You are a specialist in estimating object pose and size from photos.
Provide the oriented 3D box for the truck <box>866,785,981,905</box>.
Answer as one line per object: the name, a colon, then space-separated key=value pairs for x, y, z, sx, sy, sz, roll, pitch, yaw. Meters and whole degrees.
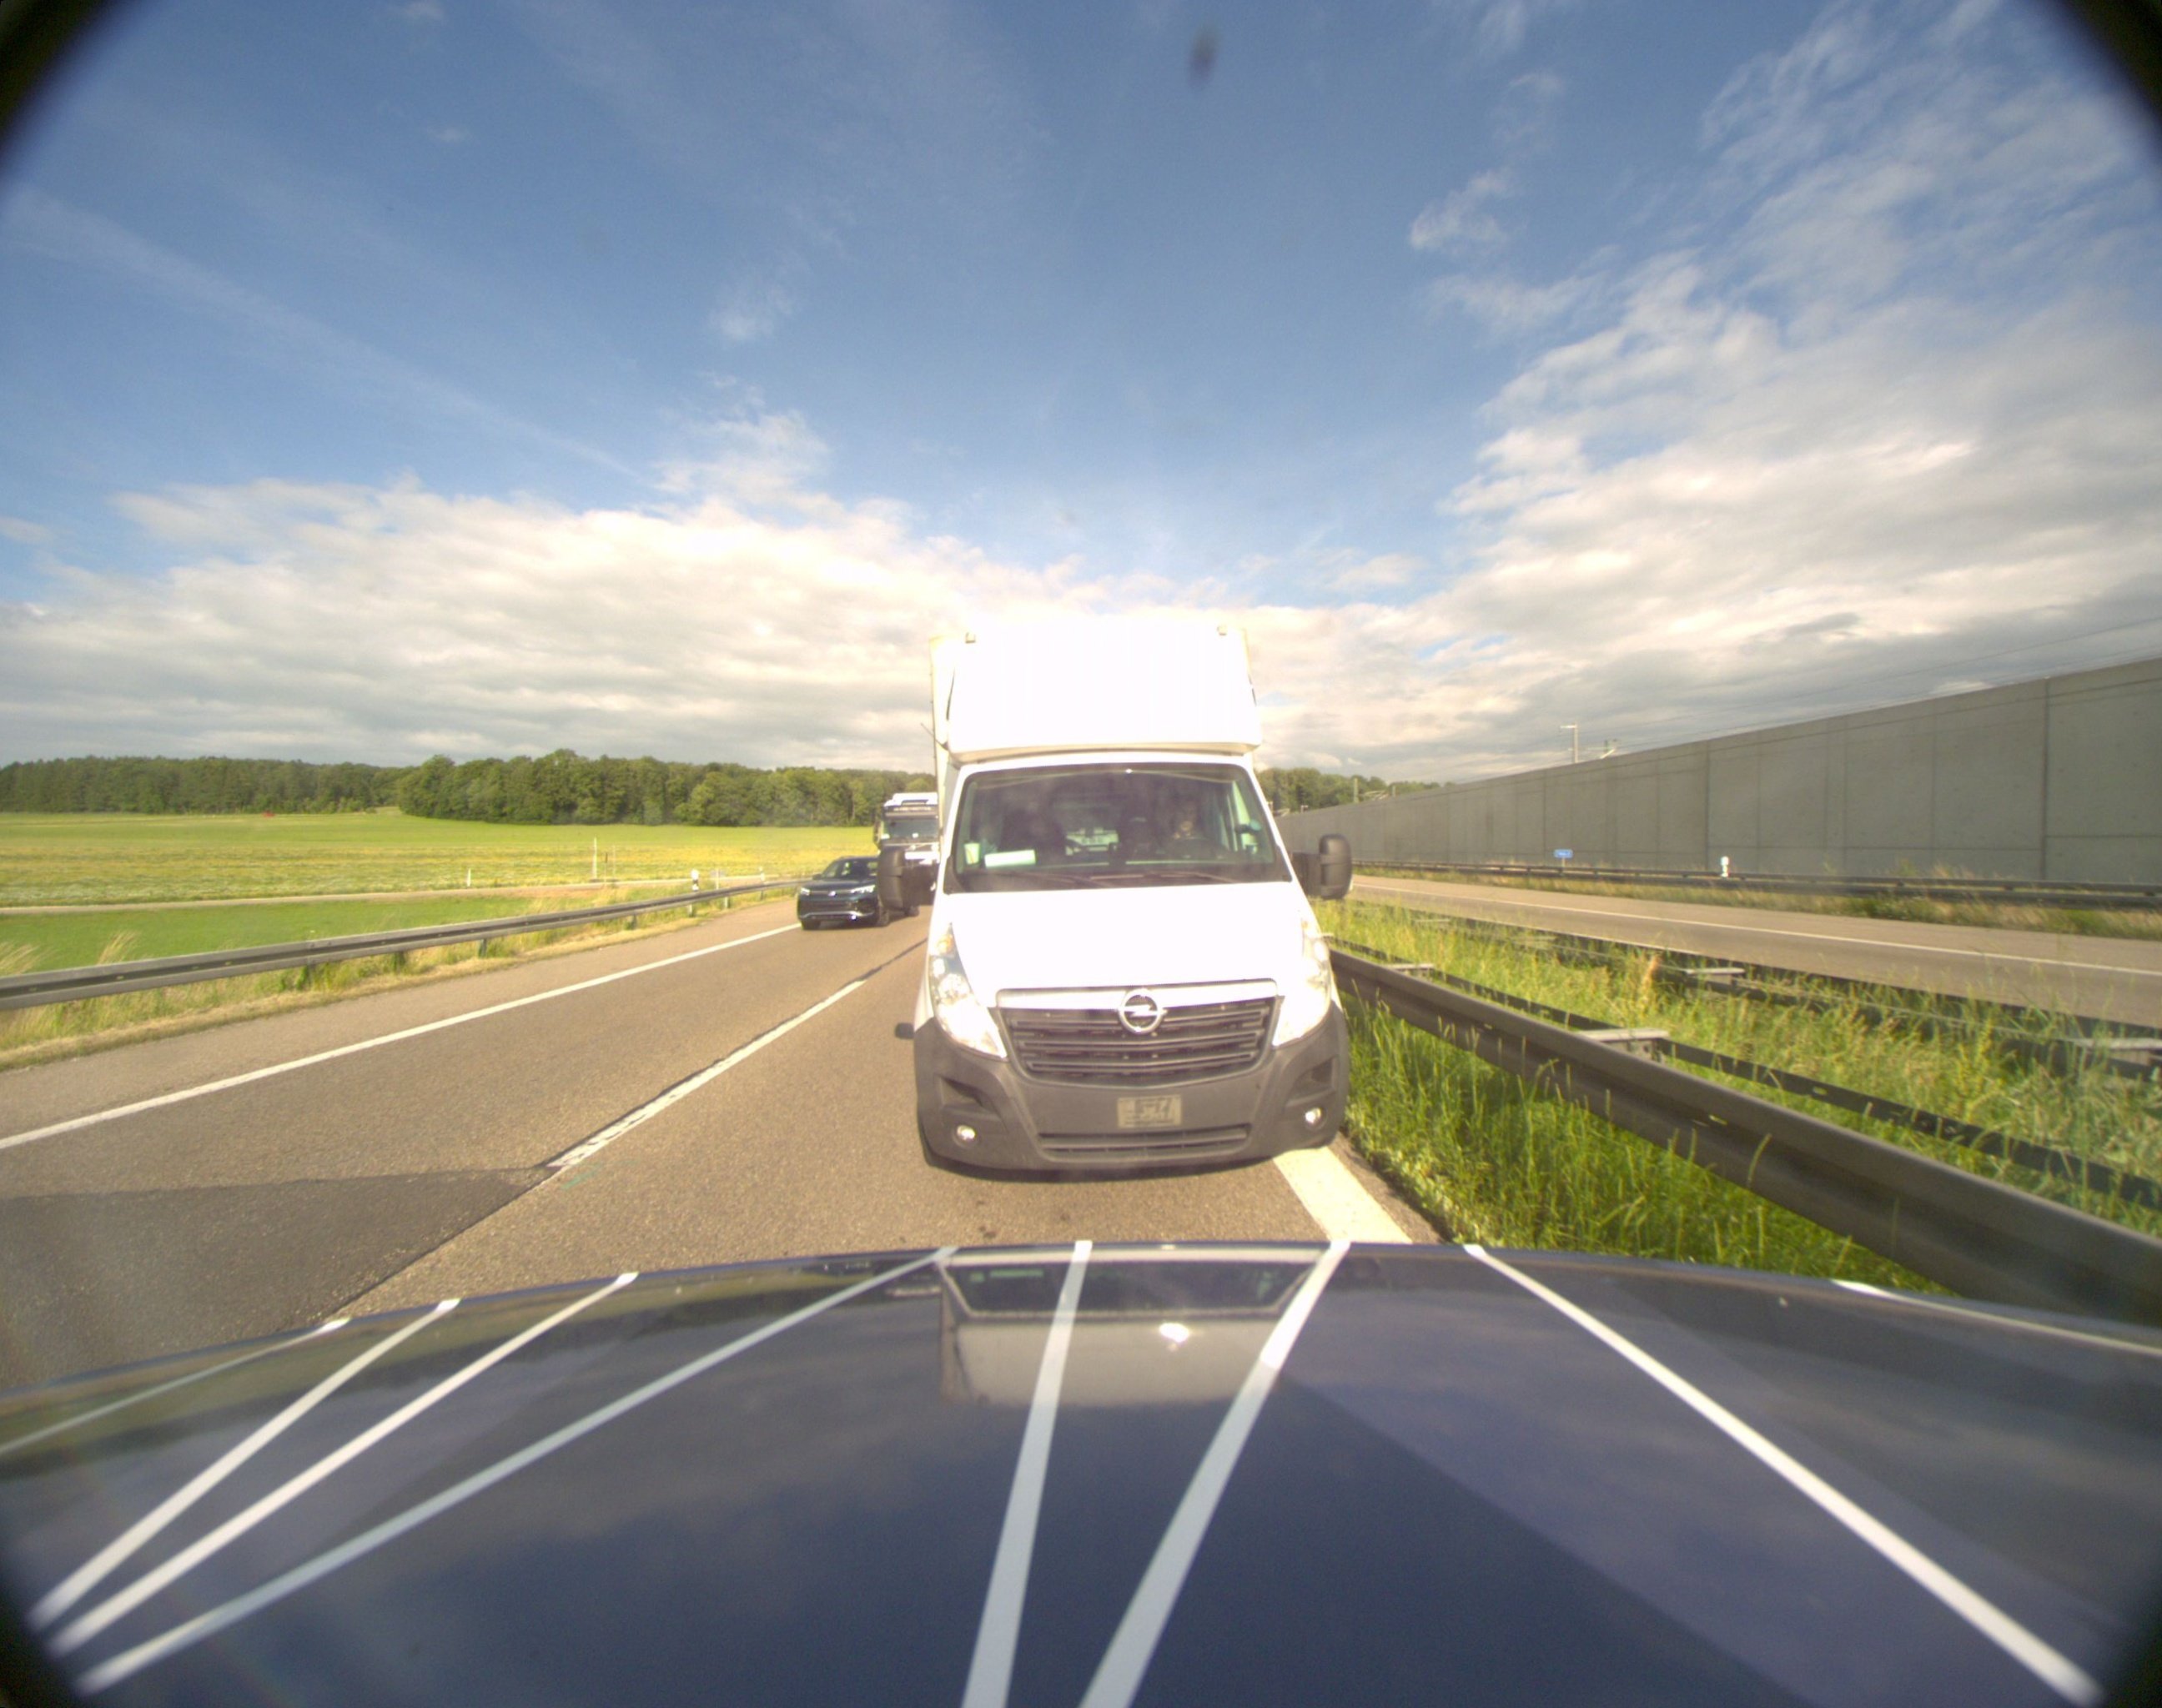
truck: x=-5.791 y=-0.344 z=29.173 sx=2.842 sy=3.967 sz=6.500 roll=-2 pitch=1 yaw=1

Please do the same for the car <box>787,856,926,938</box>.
car: x=-5.175 y=0.917 z=18.158 sx=1.998 sy=1.587 sz=4.118 roll=-2 pitch=1 yaw=1

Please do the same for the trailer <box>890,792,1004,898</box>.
trailer: x=-5.713 y=-0.416 z=35.027 sx=2.826 sy=3.959 sz=12.127 roll=-2 pitch=1 yaw=1

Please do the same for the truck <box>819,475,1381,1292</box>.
truck: x=0.133 y=0.089 z=6.835 sx=2.060 sy=3.088 sz=7.803 roll=-2 pitch=1 yaw=1
